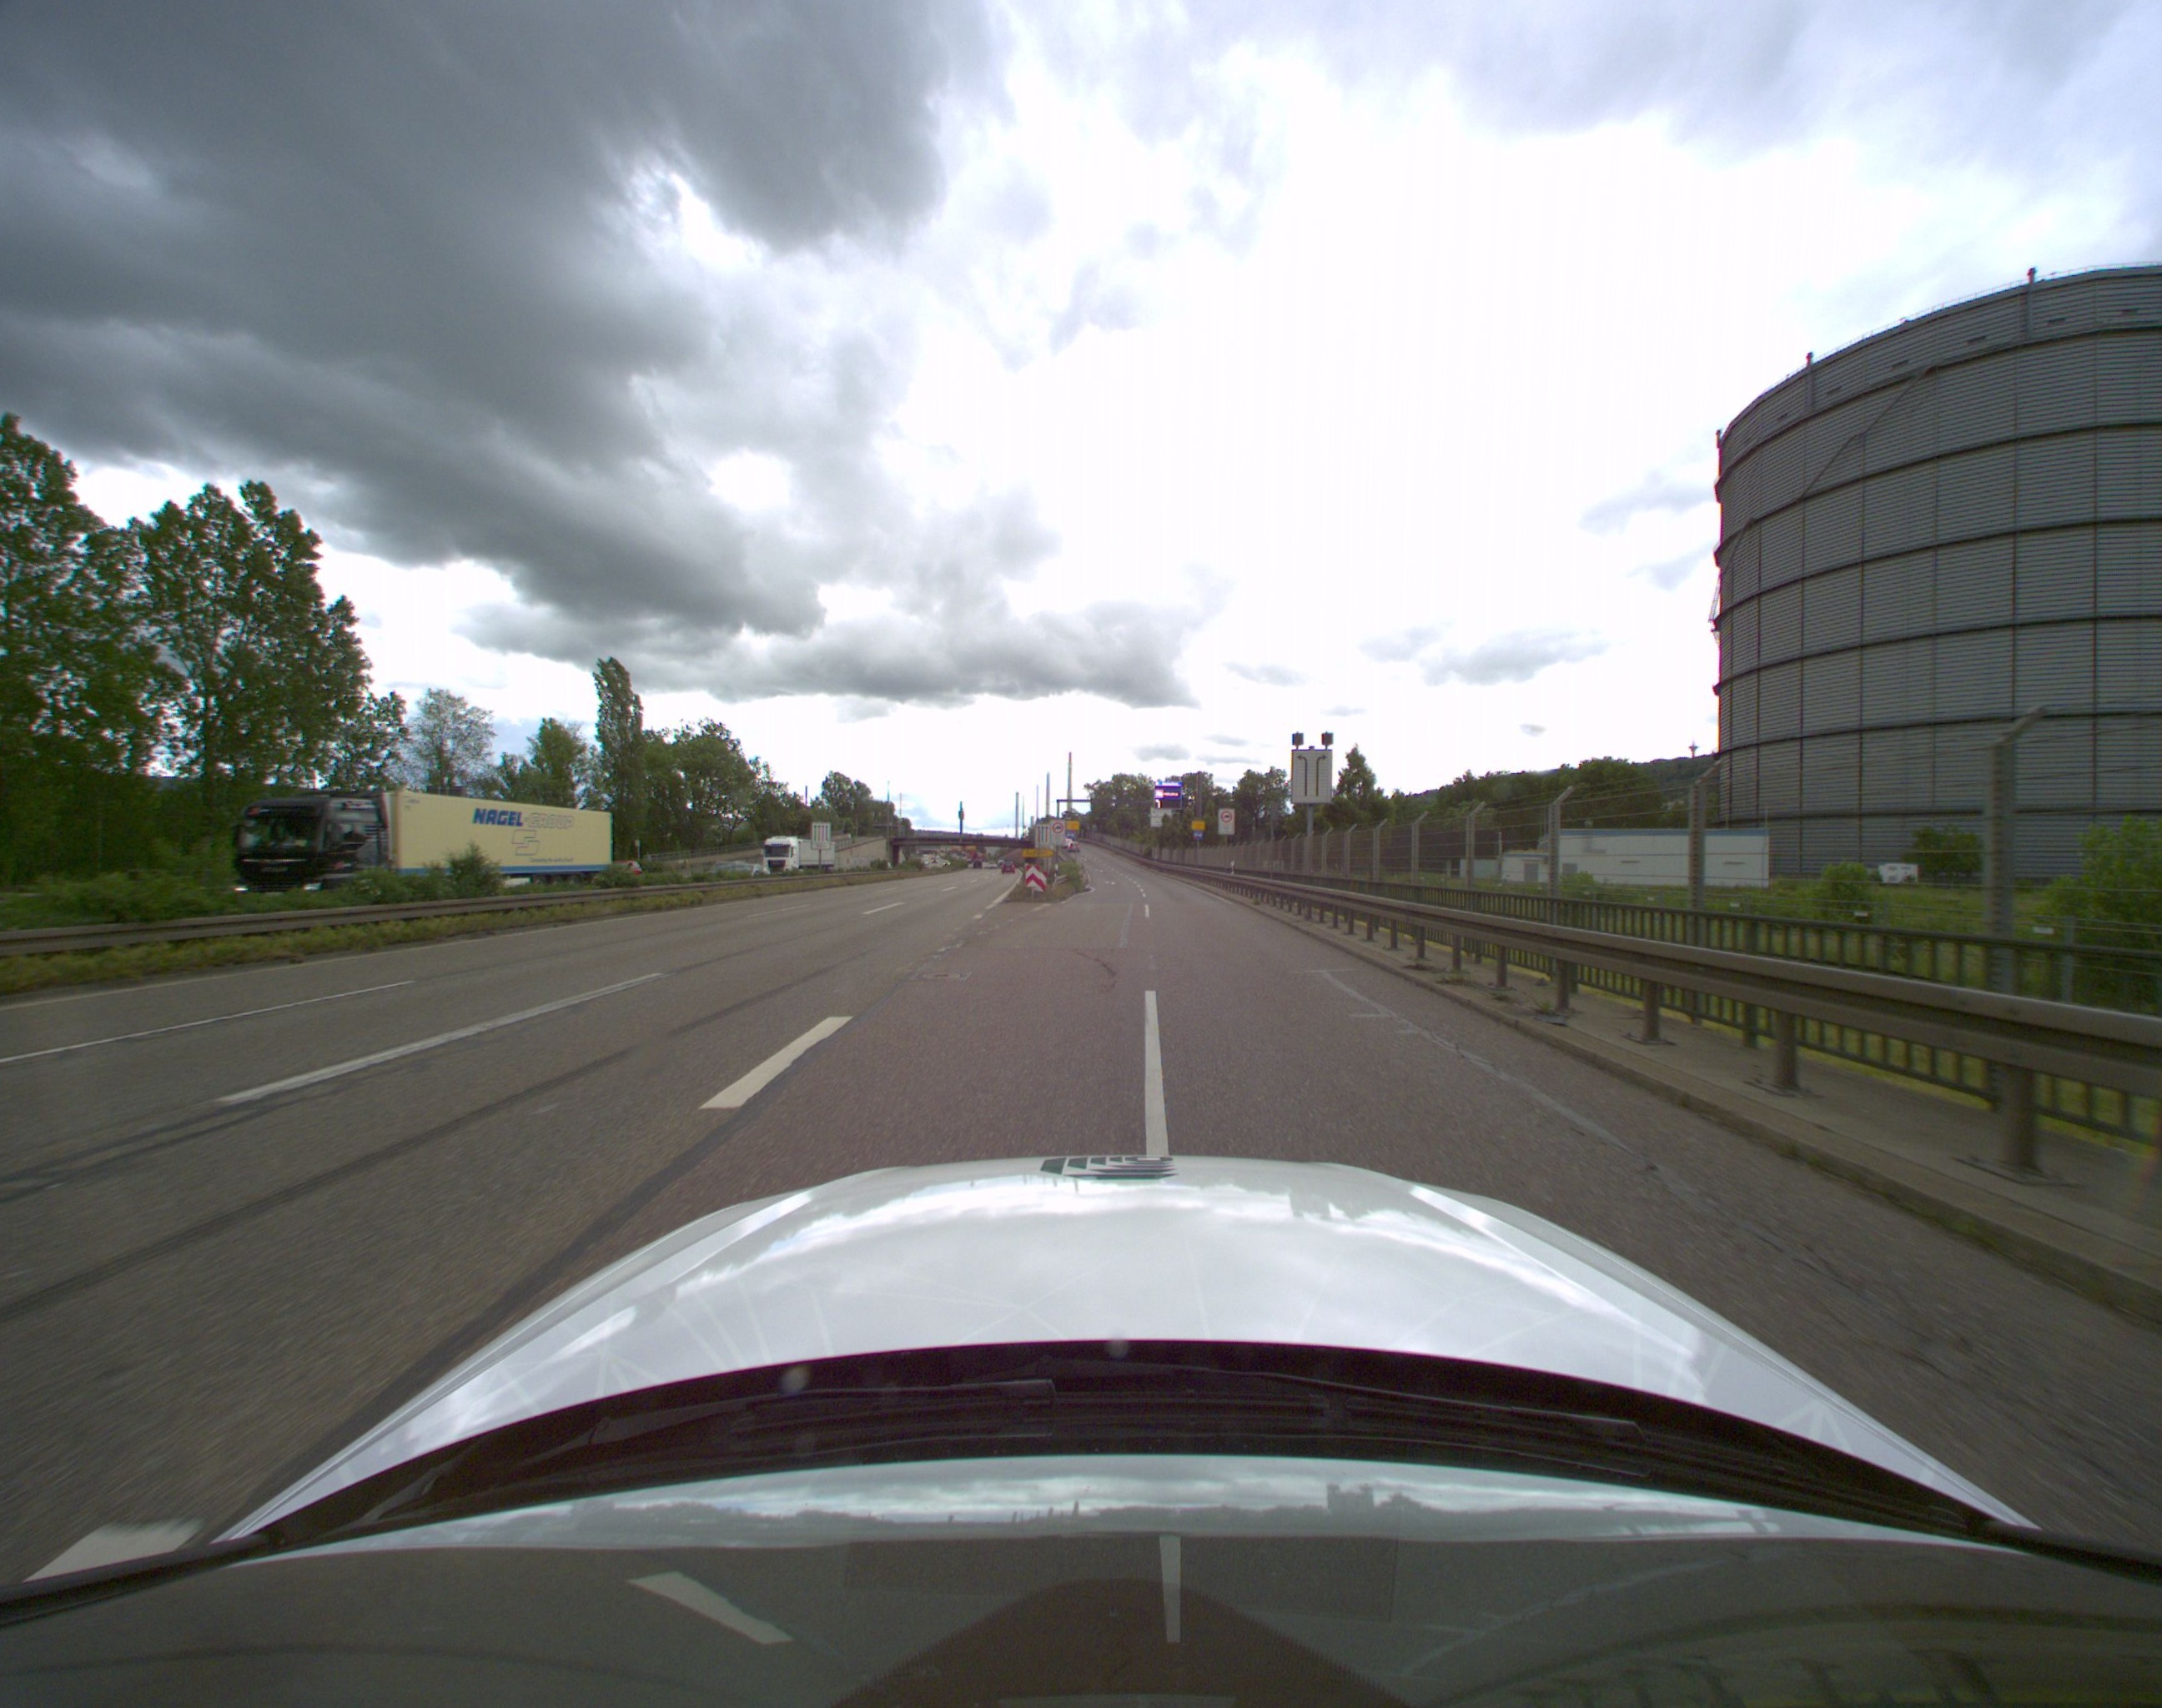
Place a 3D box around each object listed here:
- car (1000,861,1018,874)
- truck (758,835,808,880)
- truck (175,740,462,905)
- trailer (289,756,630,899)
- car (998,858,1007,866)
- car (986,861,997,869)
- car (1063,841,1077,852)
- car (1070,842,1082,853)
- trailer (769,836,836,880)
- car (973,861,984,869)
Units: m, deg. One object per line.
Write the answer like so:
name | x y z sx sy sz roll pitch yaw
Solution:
car | -9.143 1.707 103.287 1.992 1.420 3.989 1 0 -8
truck | -26.820 0.329 73.441 2.784 3.937 5.304 1 -1 -4
truck | -24.072 -0.866 26.314 3.455 4.673 6.204 0 0 -3
trailer | -24.427 -0.829 34.065 3.455 4.673 14.766 0 0 -3
car | -19.548 2.036 202.590 1.916 2.014 3.991 2 0 -7
car | -18.374 2.228 167.055 1.988 1.684 3.997 1 0 -2
car | -1.902 -1.285 138.103 1.990 1.602 3.994 -1 3 -5
car | -0.802 -1.032 126.656 1.743 1.581 4.086 1 -1 2
trailer | -27.331 0.420 80.786 2.784 3.949 13.492 1 -1 -4
car | -22.345 2.349 177.876 1.988 1.684 3.997 1 0 -2
